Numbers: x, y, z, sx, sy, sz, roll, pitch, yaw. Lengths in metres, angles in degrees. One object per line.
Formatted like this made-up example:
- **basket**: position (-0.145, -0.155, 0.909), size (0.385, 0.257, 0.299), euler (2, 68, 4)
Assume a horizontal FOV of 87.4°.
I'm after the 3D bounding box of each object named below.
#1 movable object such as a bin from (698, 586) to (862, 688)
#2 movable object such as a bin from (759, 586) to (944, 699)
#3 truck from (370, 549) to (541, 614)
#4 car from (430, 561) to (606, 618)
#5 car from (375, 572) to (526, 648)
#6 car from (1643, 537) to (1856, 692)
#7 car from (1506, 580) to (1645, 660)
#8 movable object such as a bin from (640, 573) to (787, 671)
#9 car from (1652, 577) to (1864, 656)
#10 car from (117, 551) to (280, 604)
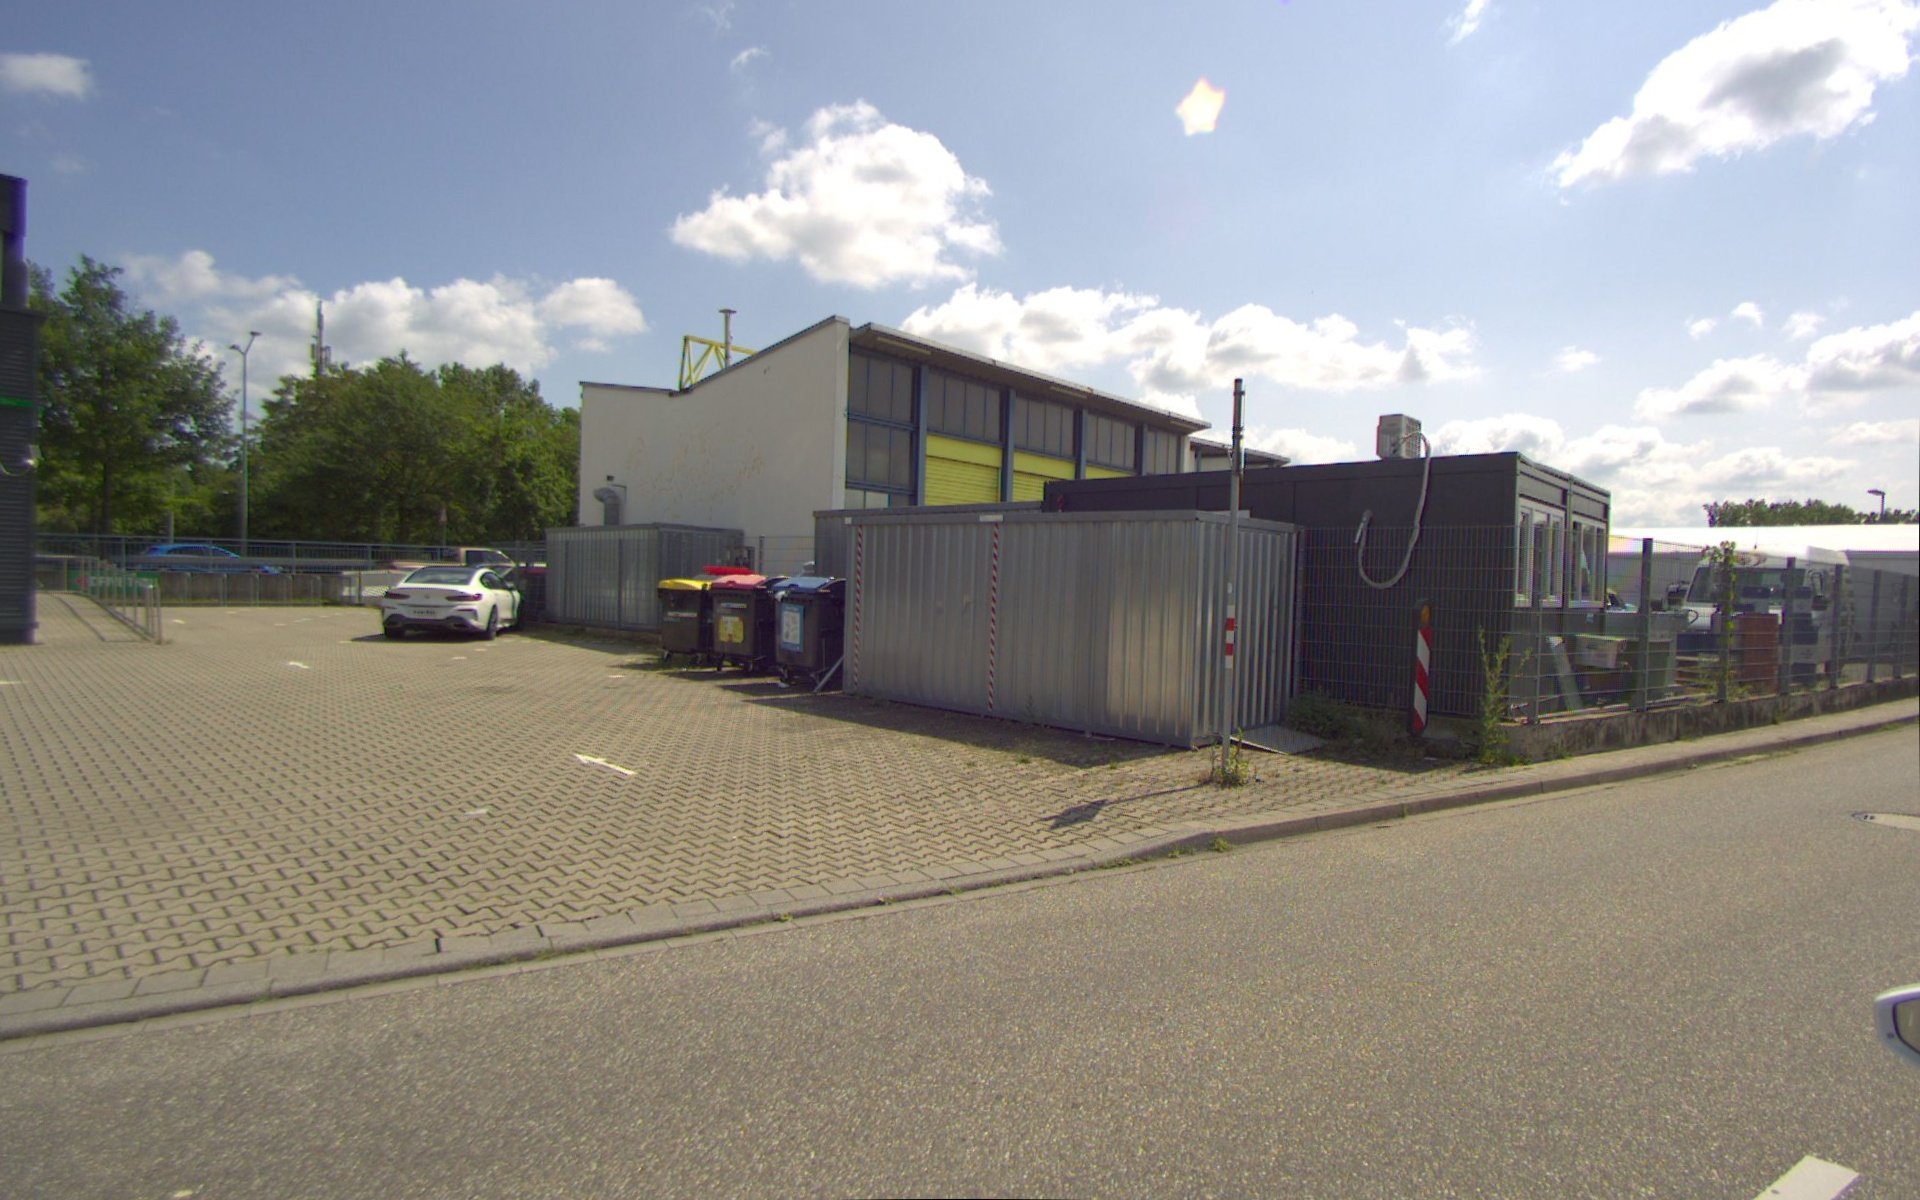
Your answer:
- **movable object such as a bin**: position (-2.715, 0.527, 15.317), size (1.181, 1.408, 2.191), euler (3, 1, 41)
- **movable object such as a bin**: position (-1.464, 0.540, 13.881), size (1.356, 1.408, 2.191), euler (1, 0, 41)
- **truck**: position (-17.003, -0.578, 34.018), size (1.931, 2.040, 4.812), euler (1, 0, 42)
- **car**: position (-13.311, -0.282, 30.459), size (1.972, 1.604, 4.485), euler (1, 0, 42)
- **car**: position (-10.178, 0.138, 20.405), size (1.906, 1.332, 4.022), euler (2, 1, -15)
- **car**: position (15.643, 0.259, 19.716), size (6.665, 2.571, 2.100), euler (1, 1, -42)
- **car**: position (14.433, 0.430, 23.462), size (1.957, 1.690, 3.976), euler (1, 0, 44)
- **movable object such as a bin**: position (-3.907, 0.332, 16.068), size (1.098, 1.408, 2.020), euler (4, 1, 36)
- **car**: position (22.217, 0.413, 28.245), size (4.495, 2.054, 2.052), euler (1, 0, 35)
- **car**: position (-26.358, -0.760, 34.859), size (1.773, 1.672, 4.315), euler (2, 1, 44)
